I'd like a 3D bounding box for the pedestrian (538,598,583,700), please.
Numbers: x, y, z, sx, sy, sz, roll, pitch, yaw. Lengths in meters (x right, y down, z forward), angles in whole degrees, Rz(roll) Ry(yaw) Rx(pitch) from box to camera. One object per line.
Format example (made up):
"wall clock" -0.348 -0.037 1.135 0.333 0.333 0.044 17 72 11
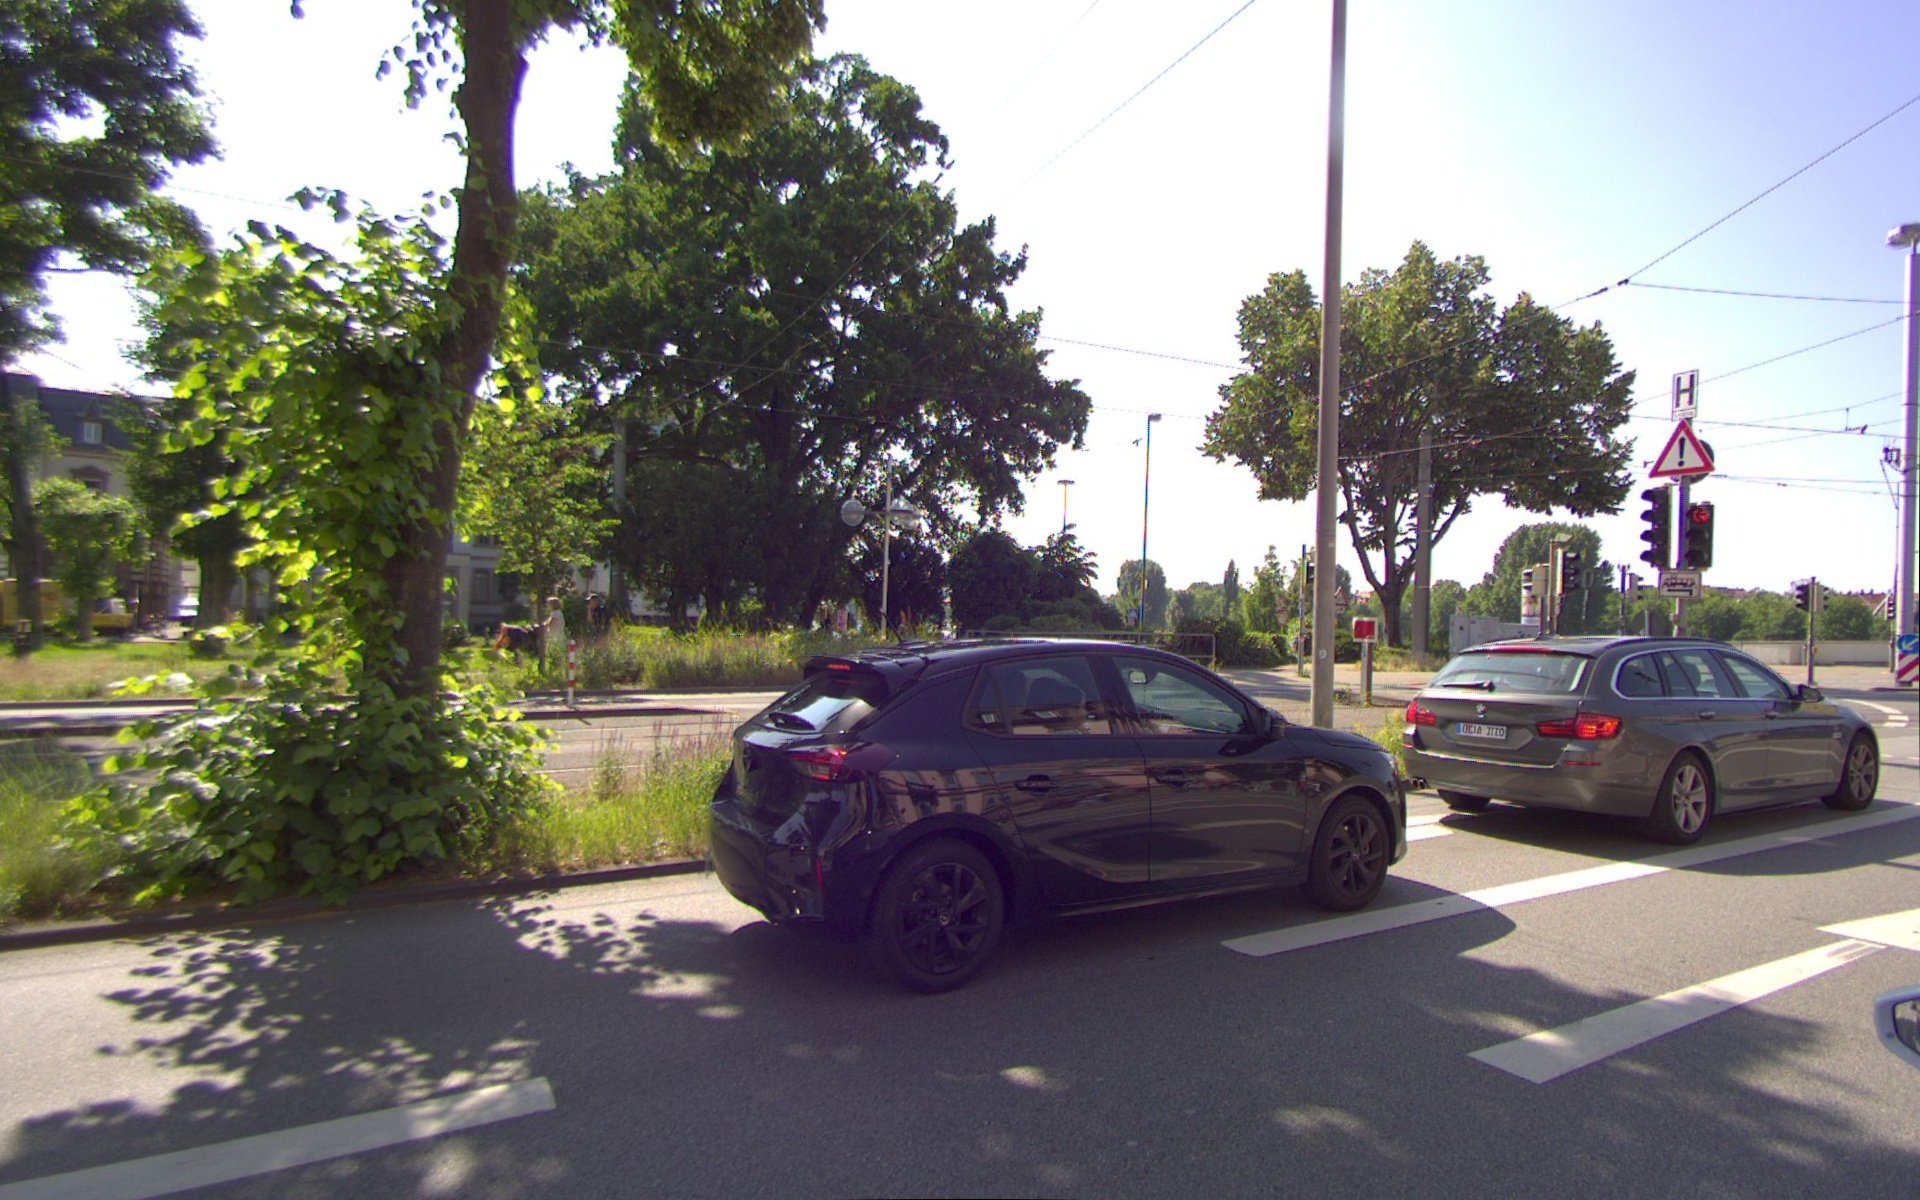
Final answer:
"pedestrian" -8.262 0.988 20.771 0.790 2.040 1.219 1 -1 -23

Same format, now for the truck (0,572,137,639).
"truck" -46.951 0.301 51.098 7.577 3.258 2.442 2 -1 -35

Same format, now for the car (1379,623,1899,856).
"car" 5.819 0.983 8.460 4.690 1.505 1.740 2 -2 -30

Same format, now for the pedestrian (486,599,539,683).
"pedestrian" -9.092 0.826 20.433 0.921 1.641 1.034 1 -1 -23

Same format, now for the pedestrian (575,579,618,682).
"pedestrian" -7.949 0.665 21.959 0.790 2.179 1.121 1 -1 -23

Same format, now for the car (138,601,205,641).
"car" -43.360 1.120 55.178 4.488 2.040 1.991 1 -1 40

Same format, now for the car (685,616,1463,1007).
"car" 0.711 0.849 5.491 3.953 1.430 1.784 2 -1 -30

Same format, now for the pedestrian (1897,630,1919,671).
"pedestrian" 40.335 2.139 42.595 0.824 1.719 1.093 0 -1 40
